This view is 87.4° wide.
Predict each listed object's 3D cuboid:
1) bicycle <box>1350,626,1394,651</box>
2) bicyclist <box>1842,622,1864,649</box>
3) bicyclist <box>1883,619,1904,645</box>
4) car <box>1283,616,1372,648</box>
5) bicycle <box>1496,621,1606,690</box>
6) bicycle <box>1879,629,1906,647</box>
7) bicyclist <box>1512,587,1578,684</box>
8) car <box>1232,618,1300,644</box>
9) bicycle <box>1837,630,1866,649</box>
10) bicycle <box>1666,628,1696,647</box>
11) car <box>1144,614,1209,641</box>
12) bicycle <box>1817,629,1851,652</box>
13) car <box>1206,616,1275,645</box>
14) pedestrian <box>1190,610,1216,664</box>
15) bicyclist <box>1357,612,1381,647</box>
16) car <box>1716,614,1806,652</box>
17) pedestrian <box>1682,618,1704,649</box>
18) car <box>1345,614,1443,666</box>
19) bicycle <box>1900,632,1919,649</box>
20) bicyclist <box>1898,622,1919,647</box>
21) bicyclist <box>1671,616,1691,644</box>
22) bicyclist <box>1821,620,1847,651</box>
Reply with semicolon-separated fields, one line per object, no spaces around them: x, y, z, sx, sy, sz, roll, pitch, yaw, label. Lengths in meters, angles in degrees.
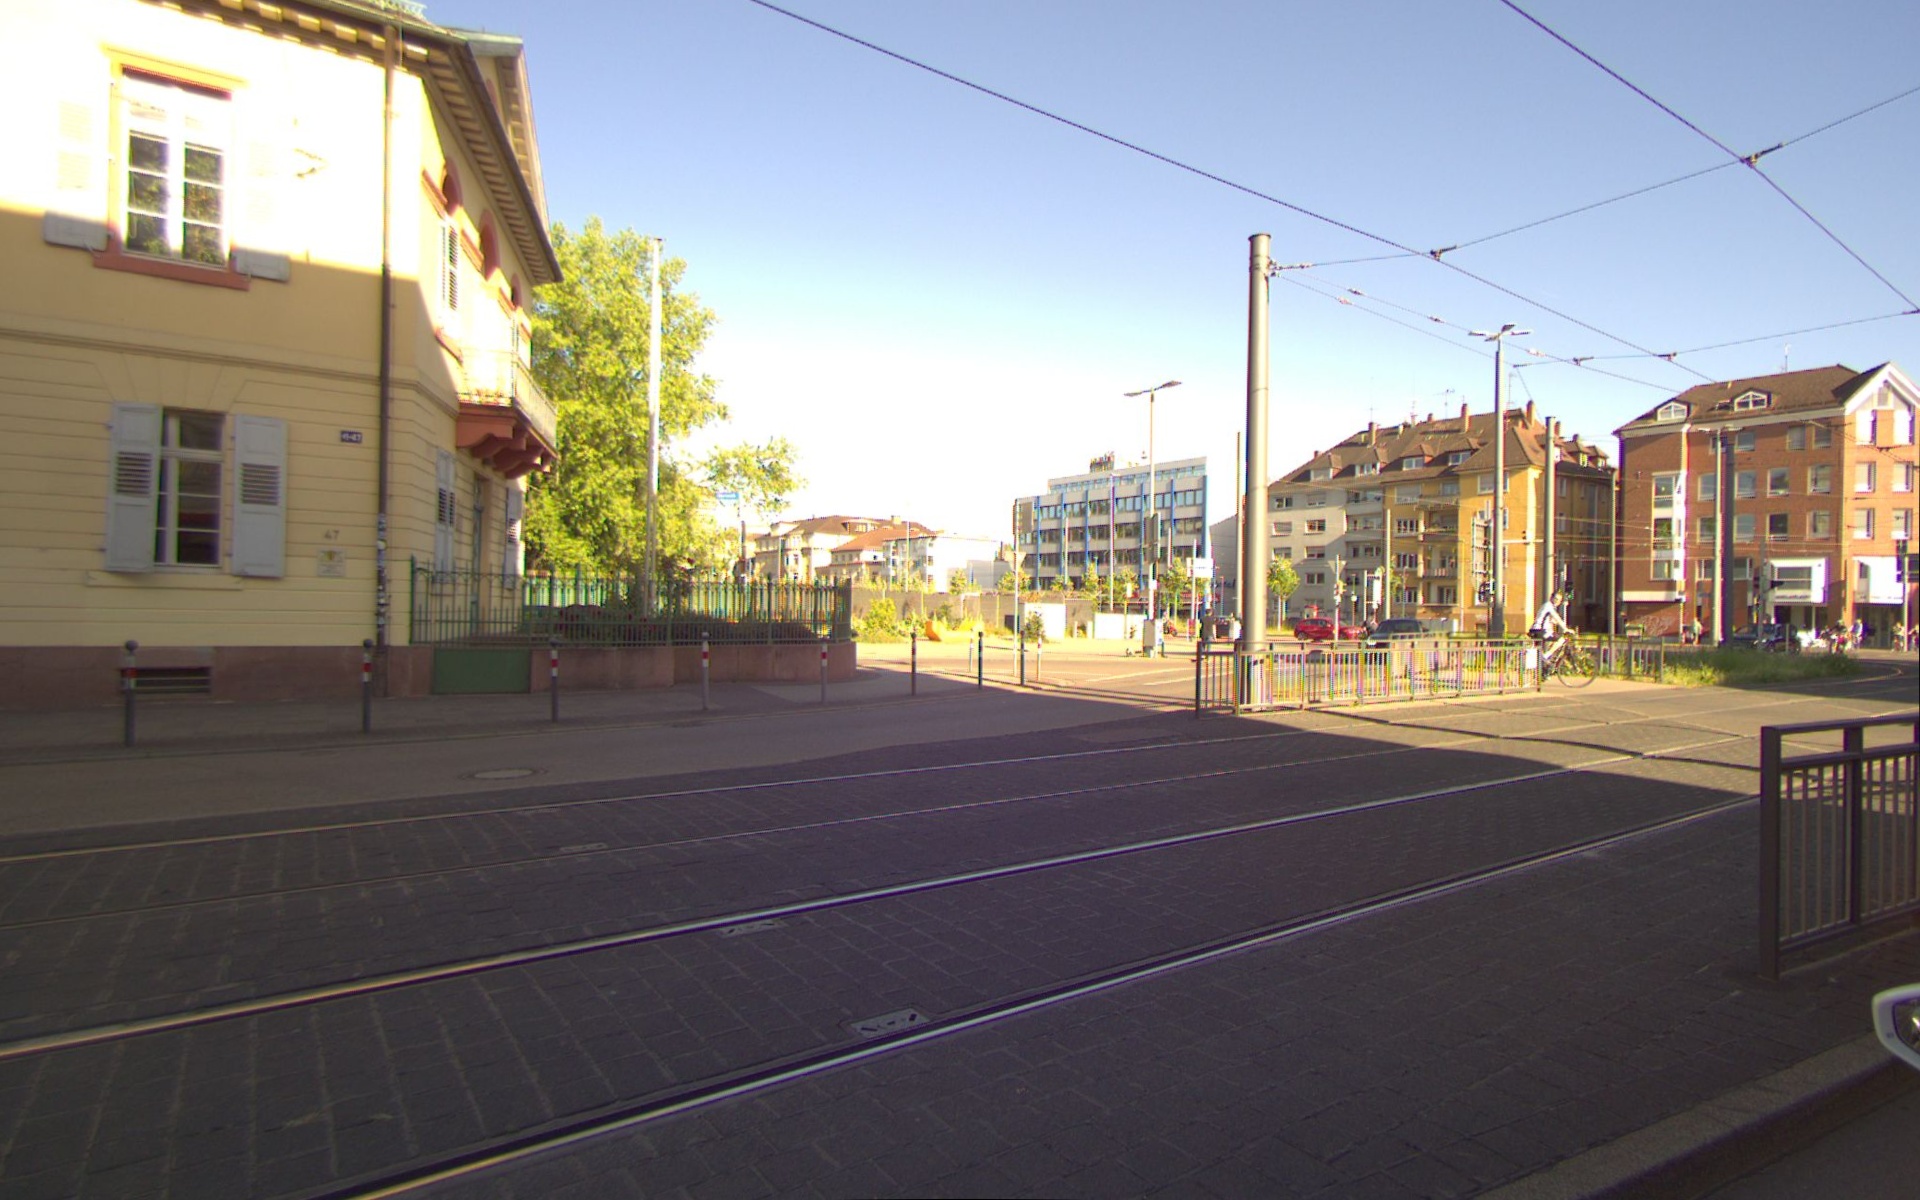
22.334;2.086;54.523;0.542;1.230;2.168;2;0;-41;bicycle
53.962;2.157;60.684;0.737;1.584;0.781;2;0;-28;bicyclist
58.752;2.011;63.233;0.737;1.584;0.781;1;0;-28;bicyclist
21.870;1.881;59.893;1.984;1.723;4.545;2;0;-41;car
11.236;1.054;19.112;1.819;1.238;0.485;2;0;-4;bicycle
58.640;2.405;63.172;2.255;1.103;0.527;1;-1;-28;bicycle
11.117;0.664;19.109;0.738;1.783;0.758;2;0;-4;bicyclist
20.172;2.028;66.357;1.781;1.503;3.949;2;0;-43;car
53.852;2.391;60.666;2.197;1.103;0.535;2;0;-28;bicycle
39.743;2.062;55.370;2.220;0.984;0.444;2;0;-31;bicycle
14.745;1.867;68.567;1.895;1.708;3.916;2;0;-41;car
43.626;2.040;50.158;2.172;1.108;0.457;2;0;-26;bicycle
18.004;1.937;64.575;1.762;1.694;3.955;2;0;-39;car
7.783;1.172;32.153;0.758;1.703;0.593;2;0;12;pedestrian
22.240;1.597;54.618;0.785;1.832;0.892;2;0;-41;bicyclist
34.848;1.455;43.698;3.988;1.547;1.703;2;0;-30;car
45.380;2.078;62.187;0.737;1.845;0.781;2;0;-28;pedestrian
14.303;1.295;33.014;1.623;1.546;3.841;2;0;45;car
61.558;2.616;64.844;2.255;1.103;0.527;2;0;-28;bicycle
61.054;2.232;64.660;0.737;1.584;0.781;1;0;-28;bicyclist
39.755;1.646;55.384;0.688;1.523;0.630;2;0;-30;bicyclist
43.619;1.768;50.142;0.581;1.547;0.783;2;0;-25;bicyclist
